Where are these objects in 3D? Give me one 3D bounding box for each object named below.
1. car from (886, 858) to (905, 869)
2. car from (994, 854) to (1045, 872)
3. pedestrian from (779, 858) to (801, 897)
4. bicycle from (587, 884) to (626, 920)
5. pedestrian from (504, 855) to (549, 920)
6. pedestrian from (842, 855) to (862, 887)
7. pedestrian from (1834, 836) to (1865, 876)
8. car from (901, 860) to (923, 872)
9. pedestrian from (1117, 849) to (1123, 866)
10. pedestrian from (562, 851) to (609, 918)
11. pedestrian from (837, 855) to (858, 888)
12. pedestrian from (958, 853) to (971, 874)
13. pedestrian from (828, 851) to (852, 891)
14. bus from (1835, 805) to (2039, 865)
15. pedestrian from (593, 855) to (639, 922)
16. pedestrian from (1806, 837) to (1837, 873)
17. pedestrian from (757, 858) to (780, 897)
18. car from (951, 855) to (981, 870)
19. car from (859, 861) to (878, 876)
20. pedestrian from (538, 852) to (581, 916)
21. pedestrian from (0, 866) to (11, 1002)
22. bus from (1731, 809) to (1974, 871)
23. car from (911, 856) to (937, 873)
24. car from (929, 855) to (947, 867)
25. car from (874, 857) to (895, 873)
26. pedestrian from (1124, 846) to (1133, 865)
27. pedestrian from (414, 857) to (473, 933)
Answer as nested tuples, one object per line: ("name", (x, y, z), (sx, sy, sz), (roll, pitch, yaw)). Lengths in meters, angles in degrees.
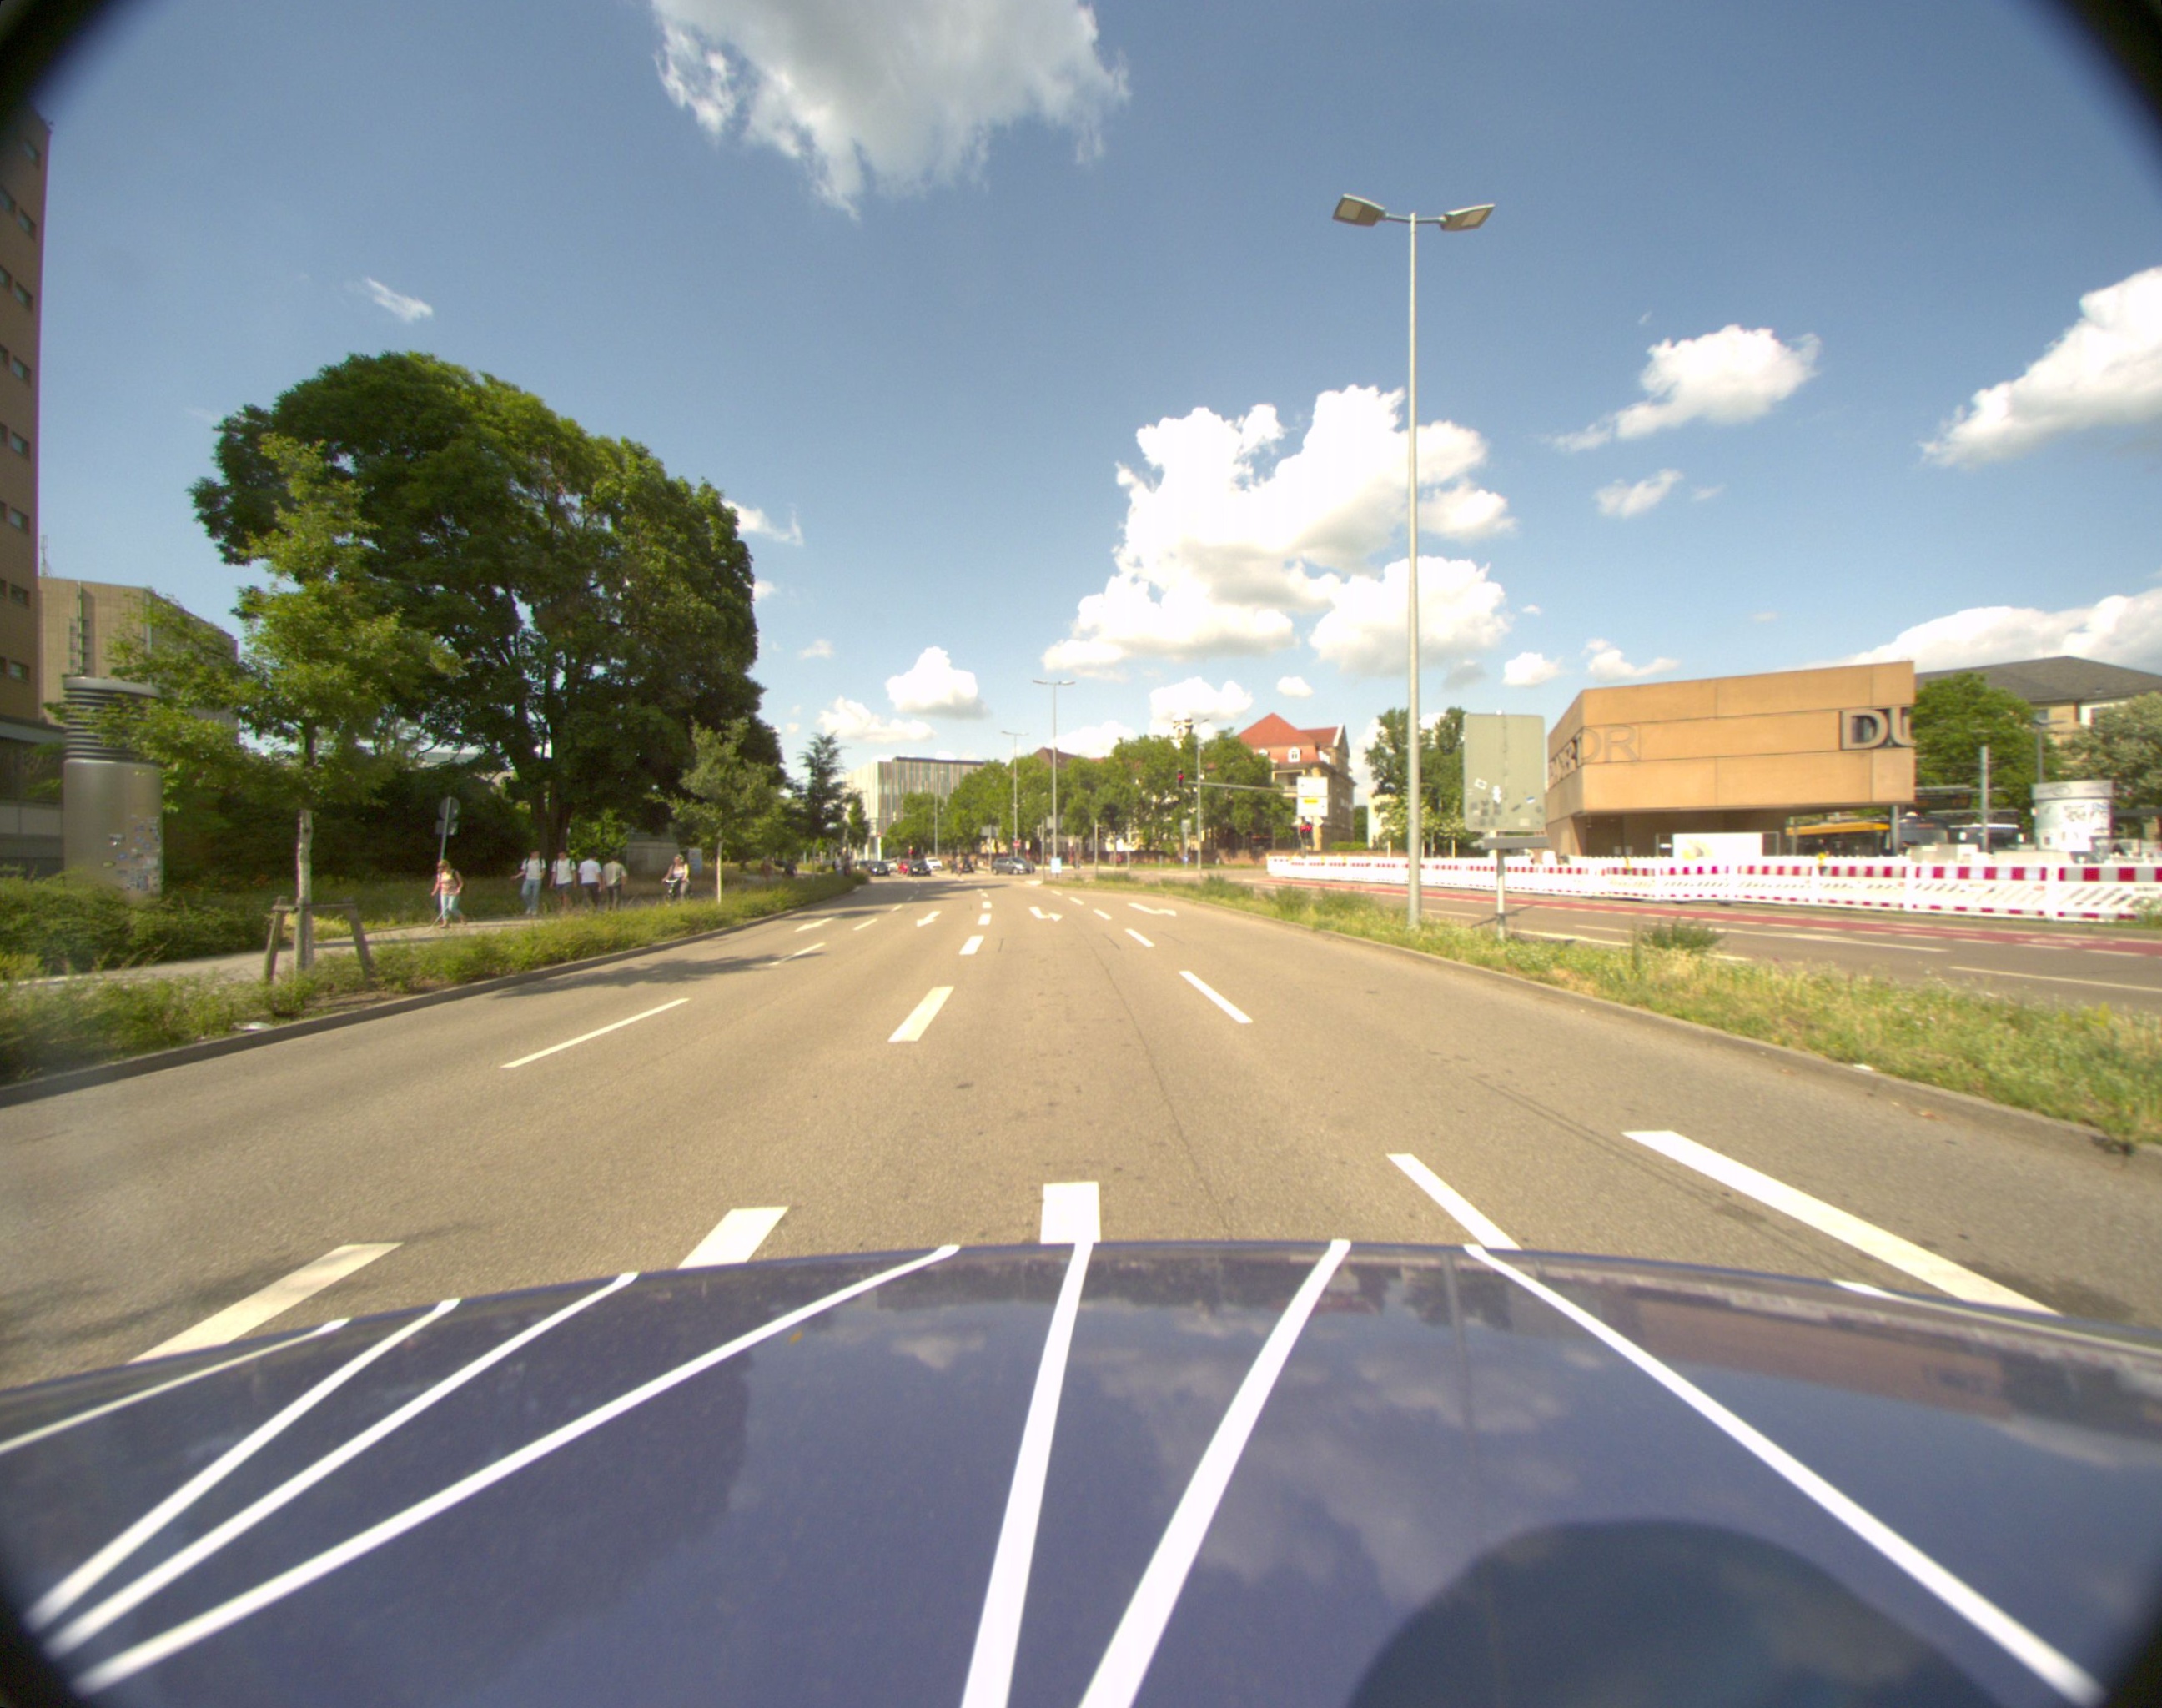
("car", (-21.113, 1.019, 86.507), (1.911, 1.127, 4.096), (-1, 1, -17))
("car", (-5.136, 0.758, 63.044), (2.004, 1.368, 4.257), (-3, 1, -44))
("pedestrian", (-13.403, 1.082, 35.023), (0.768, 1.725, 0.718), (-3, 1, -13))
("bicycle", (-13.120, 1.310, 21.038), (0.649, 0.876, 1.818), (-1, 1, -24))
("pedestrian", (-14.762, 0.875, 20.246), (0.616, 1.690, 0.889), (2, 1, -10))
("pedestrian", (-12.872, 0.938, 42.727), (0.928, 1.725, 0.768), (-2, 1, -7))
("pedestrian", (31.708, 0.086, 31.357), (0.731, 1.620, 0.561), (0, 1, 23))
("car", (-16.957, 1.193, 75.949), (1.600, 1.127, 3.622), (-2, 0, -21))
("pedestrian", (4.052, 0.376, 79.773), (0.368, 1.722, 0.451), (-1, 2, 40))
("pedestrian", (-13.276, 0.805, 20.383), (0.745, 1.736, 0.889), (2, 1, -10))
("pedestrian", (-12.881, 0.954, 41.944), (0.928, 1.725, 0.768), (-2, 1, -7))
("pedestrian", (-9.734, 0.769, 63.454), (0.739, 1.704, 0.874), (-3, 1, -27))
("pedestrian", (-12.480, 0.852, 39.385), (0.965, 2.002, 0.768), (-2, 1, -7))
("bus", (60.458, -1.196, 54.759), (3.599, 3.611, 18.906), (0, 0, 29))
("pedestrian", (-12.499, 0.916, 20.447), (0.745, 1.744, 0.888), (2, 1, -11))
("pedestrian", (33.665, 0.056, 34.543), (0.653, 1.622, 0.765), (-1, 1, -15))
("pedestrian", (-14.126, 1.053, 34.335), (0.768, 1.725, 0.718), (-3, 1, -13))
("car", (-11.064, 0.806, 72.890), (1.736, 1.327, 3.781), (-2, 1, -25))
("car", (-22.941, 1.565, 82.094), (1.828, 1.454, 3.995), (-1, 0, -14))
("pedestrian", (-14.071, 0.798, 20.538), (0.616, 1.690, 0.889), (2, 1, -10))
("pedestrian", (-13.256, 0.947, 8.754), (0.615, 1.613, 0.890), (2, 1, 10))
("bus", (49.117, -0.778, 50.180), (3.467, 3.165, 23.820), (0, 0, 26))
("car", (-13.842, 0.918, 66.859), (1.828, 1.454, 3.994), (-1, 0, -16))
("car", (-16.490, 0.784, 87.324), (1.780, 1.346, 3.995), (-2, 1, -14))
("car", (-18.174, 0.998, 70.245), (1.828, 1.454, 3.995), (-1, 0, -14))
("pedestrian", (4.860, 0.142, 78.235), (0.582, 1.982, 0.621), (-3, 1, -32))
("pedestrian", (-13.999, 0.884, 16.711), (0.616, 1.613, 0.889), (2, 1, -10))
